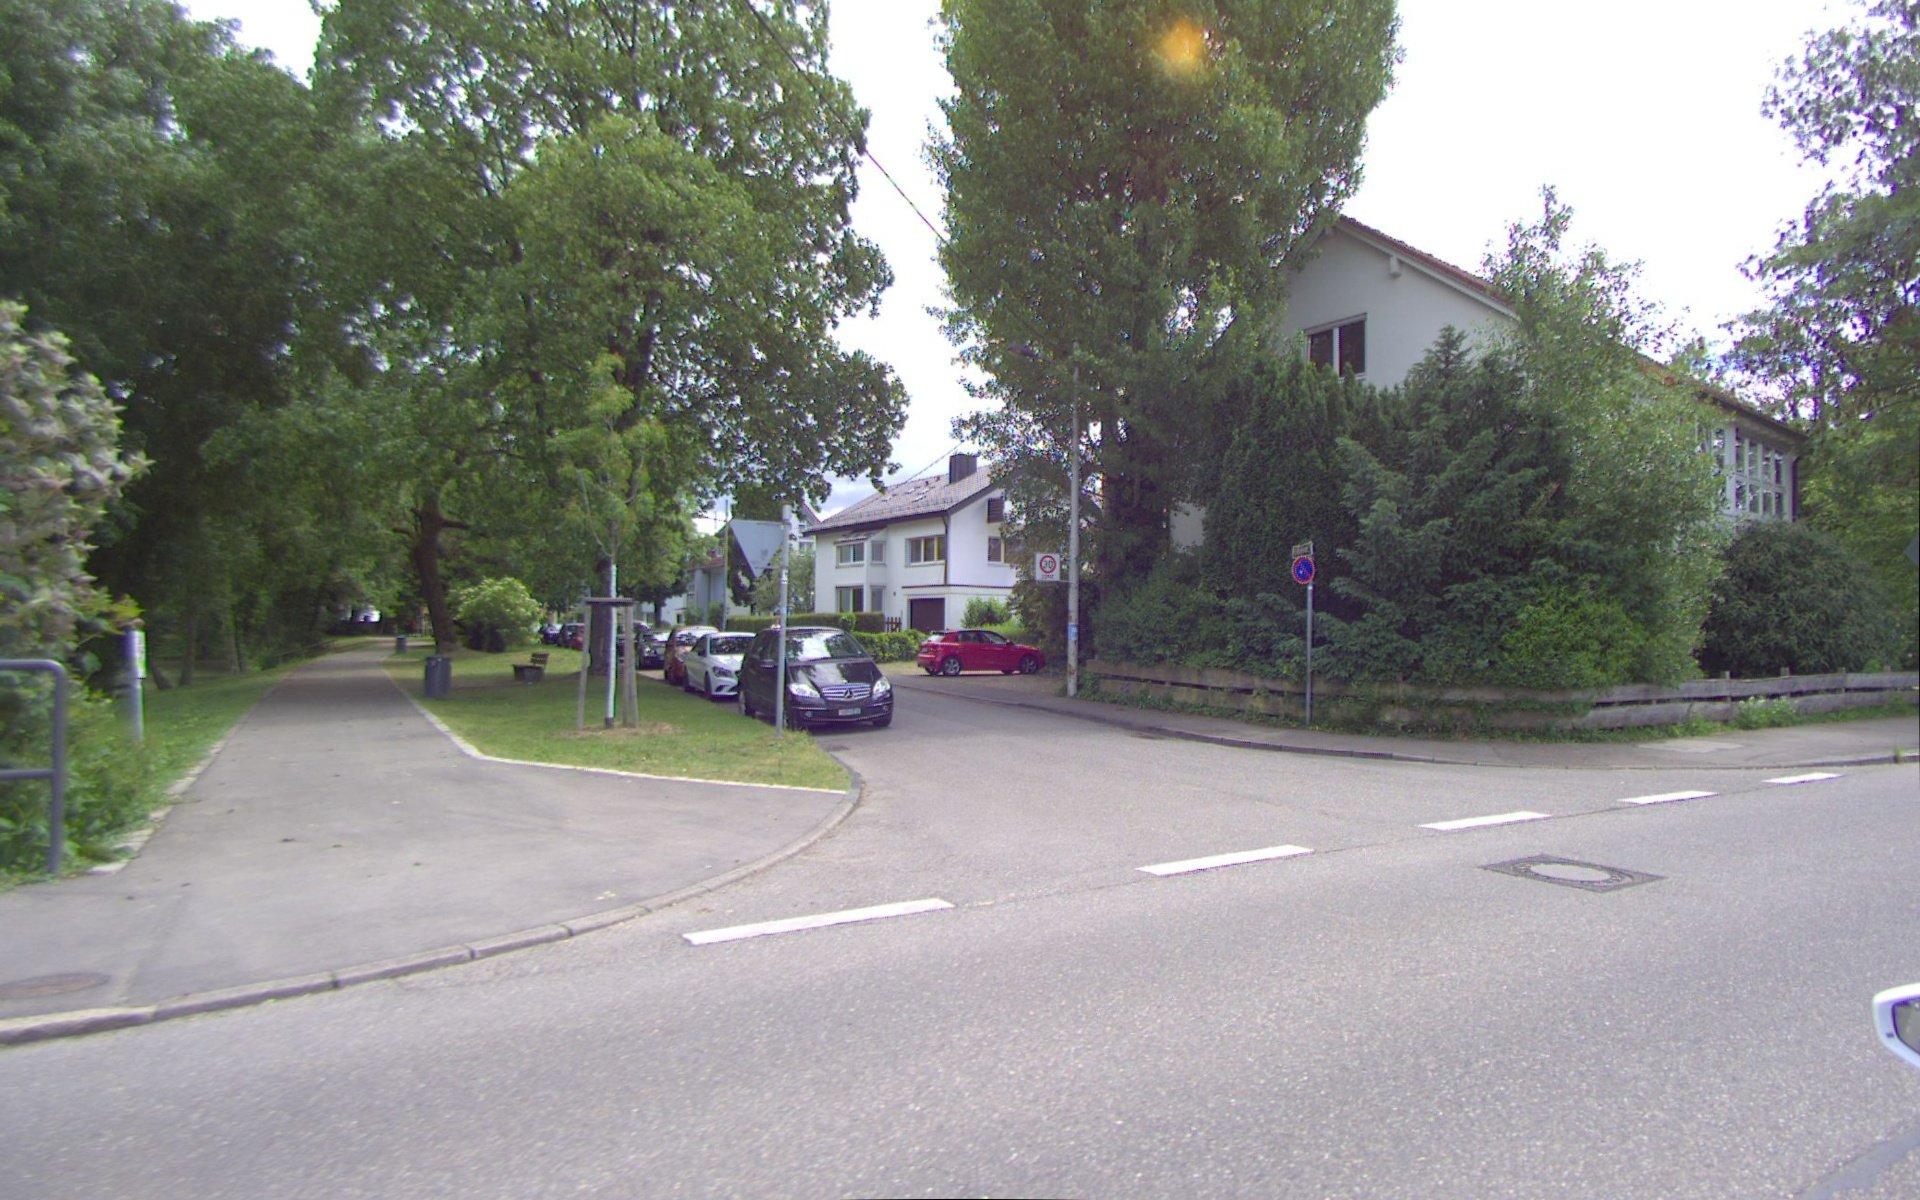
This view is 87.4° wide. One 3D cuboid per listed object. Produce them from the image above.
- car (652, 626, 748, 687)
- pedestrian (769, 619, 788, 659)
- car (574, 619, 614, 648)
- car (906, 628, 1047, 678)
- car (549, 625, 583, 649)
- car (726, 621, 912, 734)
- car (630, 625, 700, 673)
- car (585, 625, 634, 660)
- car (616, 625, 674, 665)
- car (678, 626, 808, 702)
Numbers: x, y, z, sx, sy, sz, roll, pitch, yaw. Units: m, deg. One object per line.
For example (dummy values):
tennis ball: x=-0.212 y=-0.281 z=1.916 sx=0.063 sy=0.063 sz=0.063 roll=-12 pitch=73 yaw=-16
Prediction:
car: x=-7.312 y=1.509 z=27.985 sx=1.929 sy=1.499 sz=3.976 roll=1 pitch=-1 yaw=-24
pedestrian: x=-7.752 y=1.661 z=42.979 sx=0.678 sy=1.694 sz=0.608 roll=2 pitch=0 yaw=-18
car: x=-19.918 y=1.808 z=54.620 sx=1.877 sy=1.499 sz=3.769 roll=1 pitch=-1 yaw=-23
car: x=0.503 y=1.601 z=30.837 sx=3.942 sy=1.406 sz=1.833 roll=0 pitch=-2 yaw=-23
car: x=-25.746 y=2.400 z=65.545 sx=1.928 sy=1.499 sz=3.978 roll=1 pitch=-1 yaw=-23
car: x=-2.496 y=1.199 z=16.927 sx=1.942 sy=1.643 sz=3.974 roll=2 pitch=-1 yaw=-26
car: x=-10.372 y=1.670 z=35.179 sx=1.928 sy=1.499 sz=3.978 roll=1 pitch=-1 yaw=-23
car: x=-16.460 y=1.959 z=47.084 sx=1.928 sy=1.499 sz=3.978 roll=1 pitch=-1 yaw=-23
car: x=-13.229 y=1.851 z=42.054 sx=1.928 sy=1.499 sz=3.978 roll=1 pitch=-1 yaw=-23
car: x=-4.994 y=1.370 z=22.707 sx=1.818 sy=1.537 sz=3.970 roll=1 pitch=-2 yaw=-29
